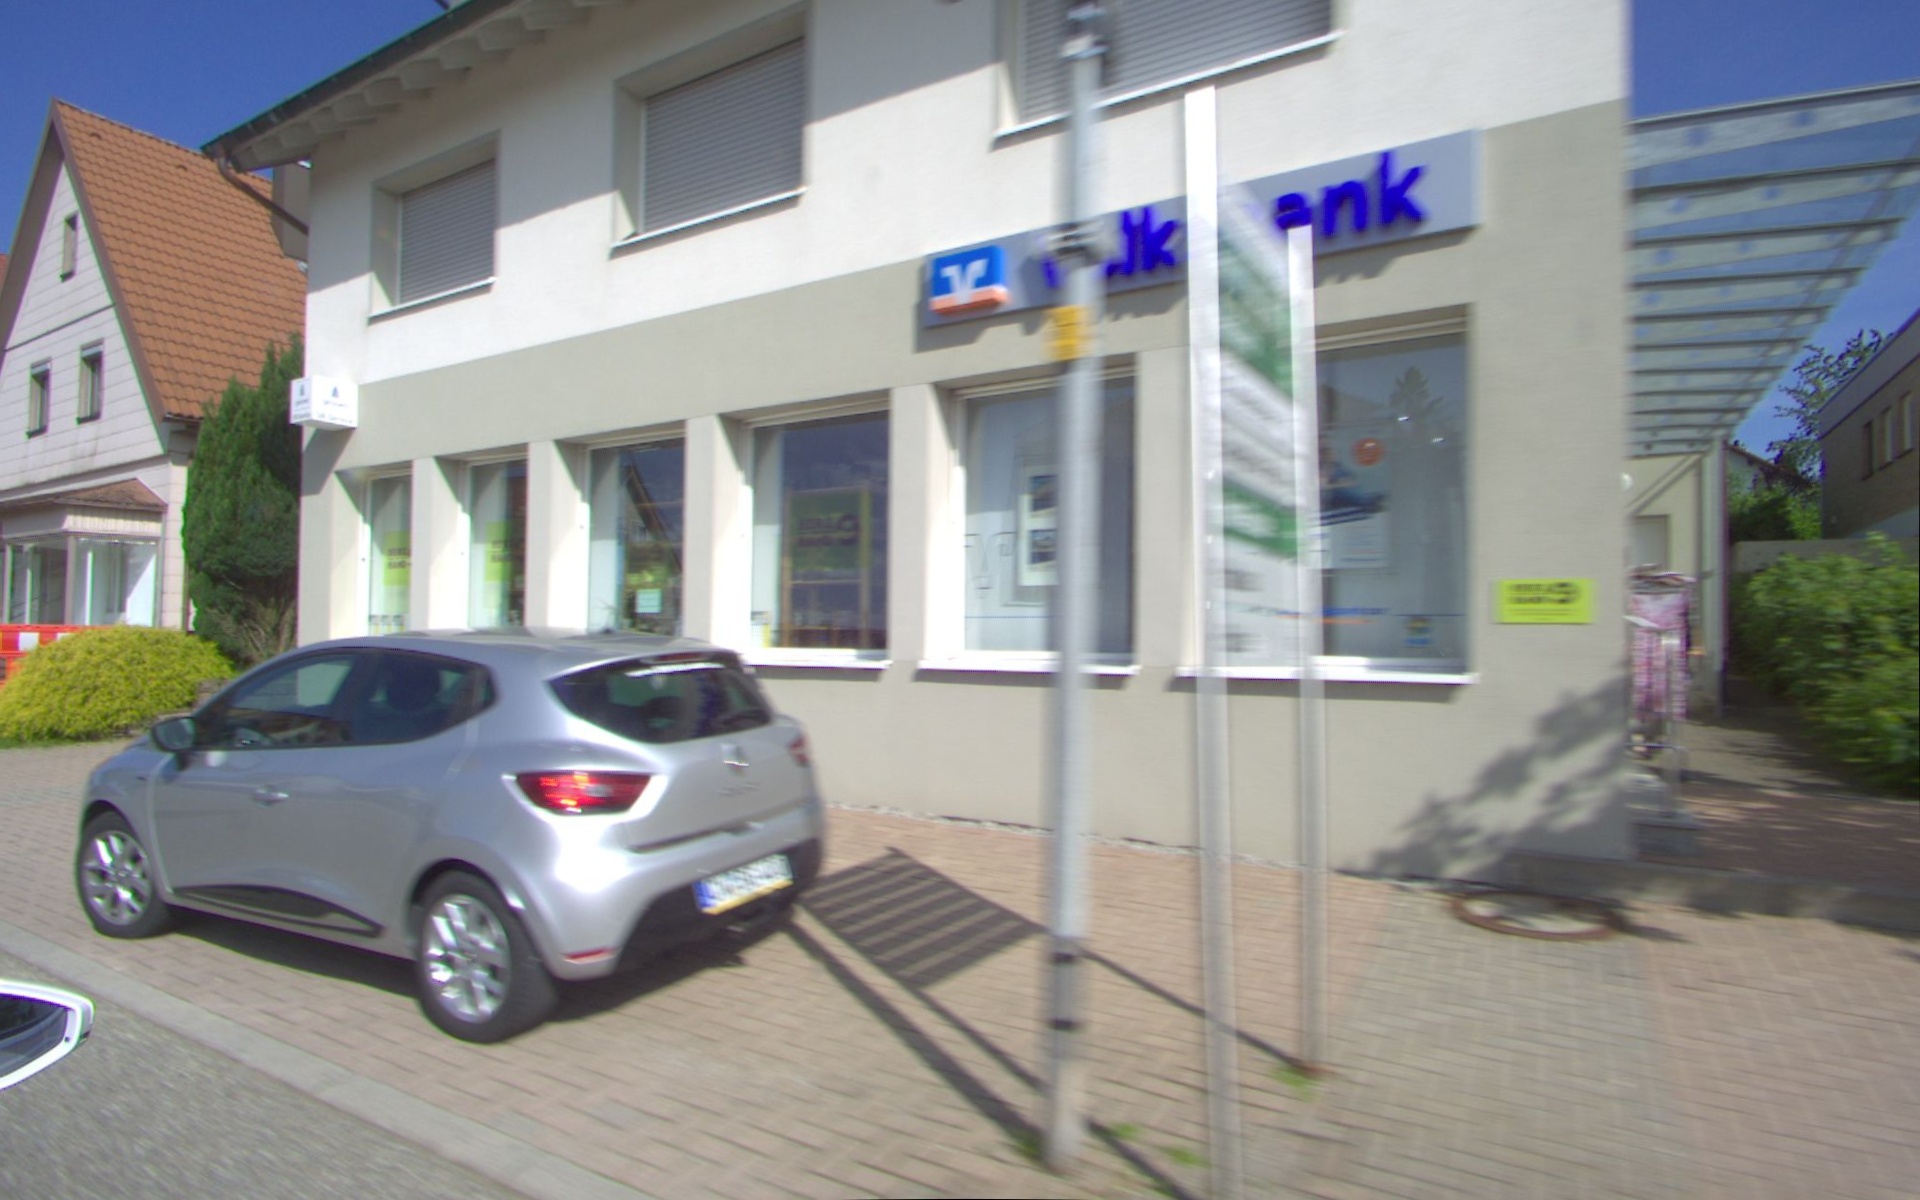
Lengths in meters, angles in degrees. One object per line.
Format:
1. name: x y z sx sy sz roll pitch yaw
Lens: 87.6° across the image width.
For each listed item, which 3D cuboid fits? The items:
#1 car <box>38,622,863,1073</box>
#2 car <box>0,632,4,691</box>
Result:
1. car: -2.535 0.827 4.833 3.874 1.438 1.634 -1 -1 28
2. car: -27.674 1.577 26.001 1.718 1.568 3.969 -1 -3 42
